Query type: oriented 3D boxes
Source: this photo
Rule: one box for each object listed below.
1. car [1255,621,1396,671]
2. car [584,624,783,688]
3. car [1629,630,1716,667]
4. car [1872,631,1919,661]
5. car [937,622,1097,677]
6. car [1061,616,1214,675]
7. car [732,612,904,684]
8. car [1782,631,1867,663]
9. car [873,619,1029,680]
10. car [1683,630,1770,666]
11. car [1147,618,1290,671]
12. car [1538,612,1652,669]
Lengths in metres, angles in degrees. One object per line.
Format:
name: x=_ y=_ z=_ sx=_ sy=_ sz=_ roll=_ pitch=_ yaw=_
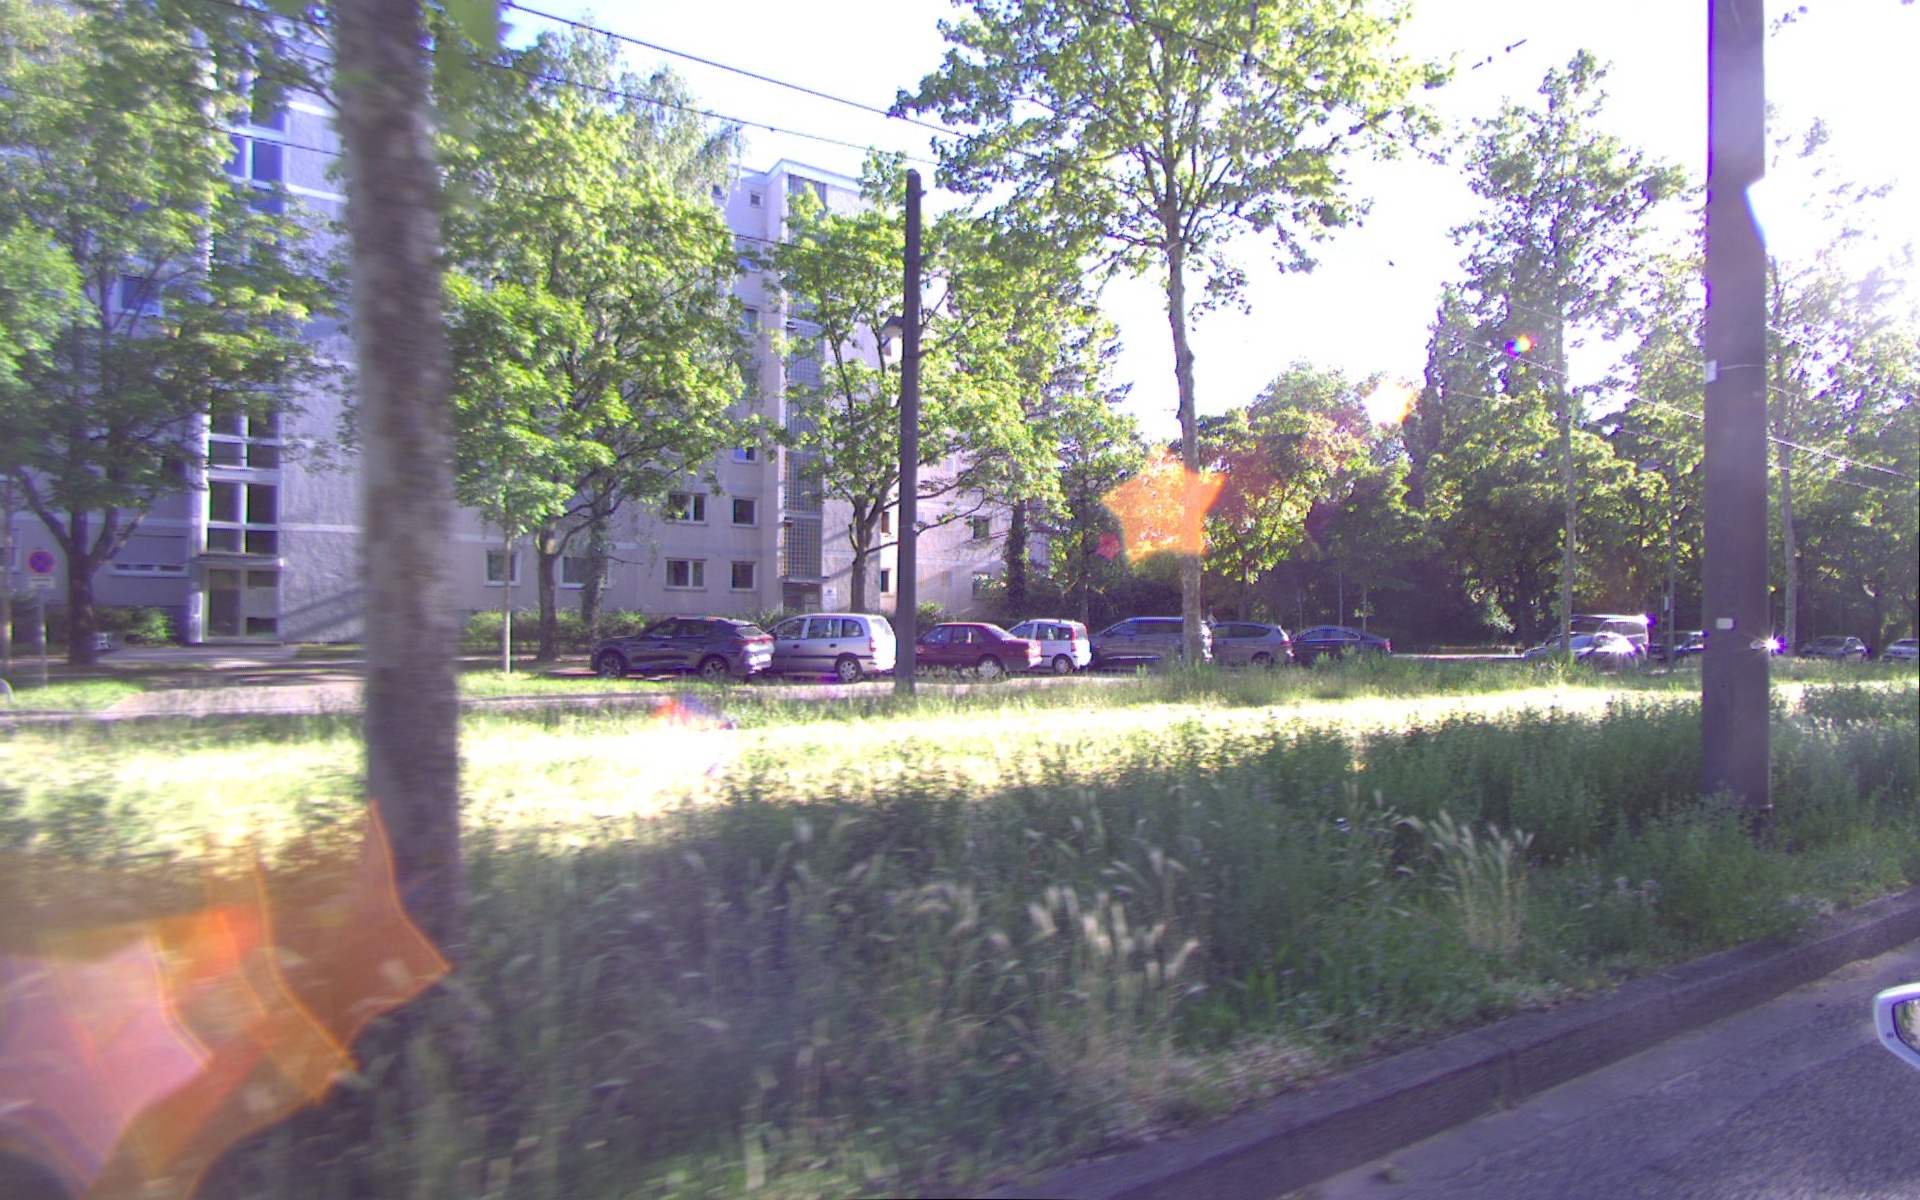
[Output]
car: x=12.419 y=1.535 z=34.383 sx=4.397 sy=1.589 sz=1.796 roll=0 pitch=-1 yaw=18
car: x=-6.317 y=1.263 z=23.201 sx=4.048 sy=1.355 sz=1.796 roll=0 pitch=-1 yaw=6
car: x=31.107 y=2.112 z=43.870 sx=3.618 sy=1.472 sz=1.638 roll=1 pitch=1 yaw=-28
car: x=53.672 y=2.587 z=56.738 sx=3.950 sy=1.472 sz=1.985 roll=1 pitch=1 yaw=-28
car: x=1.652 y=1.408 z=29.355 sx=4.401 sy=1.501 sz=1.617 roll=0 pitch=-1 yaw=24
car: x=5.438 y=1.354 z=30.737 sx=4.397 sy=1.697 sz=1.796 roll=0 pitch=-1 yaw=18
car: x=-3.534 y=1.168 z=25.278 sx=3.898 sy=1.697 sz=1.788 roll=0 pitch=-1 yaw=13
car: x=44.549 y=2.388 z=51.759 sx=3.950 sy=1.472 sz=1.985 roll=1 pitch=1 yaw=-28
car: x=-0.207 y=1.300 z=26.955 sx=3.841 sy=1.507 sz=1.797 roll=0 pitch=-1 yaw=13
car: x=35.454 y=2.203 z=46.444 sx=3.530 sy=1.472 sz=1.864 roll=1 pitch=1 yaw=-28
car: x=8.412 y=1.415 z=32.664 sx=4.397 sy=1.589 sz=1.796 roll=0 pitch=-1 yaw=18
car: x=25.440 y=1.603 z=40.196 sx=4.854 sy=2.121 sz=1.638 roll=1 pitch=1 yaw=-29
